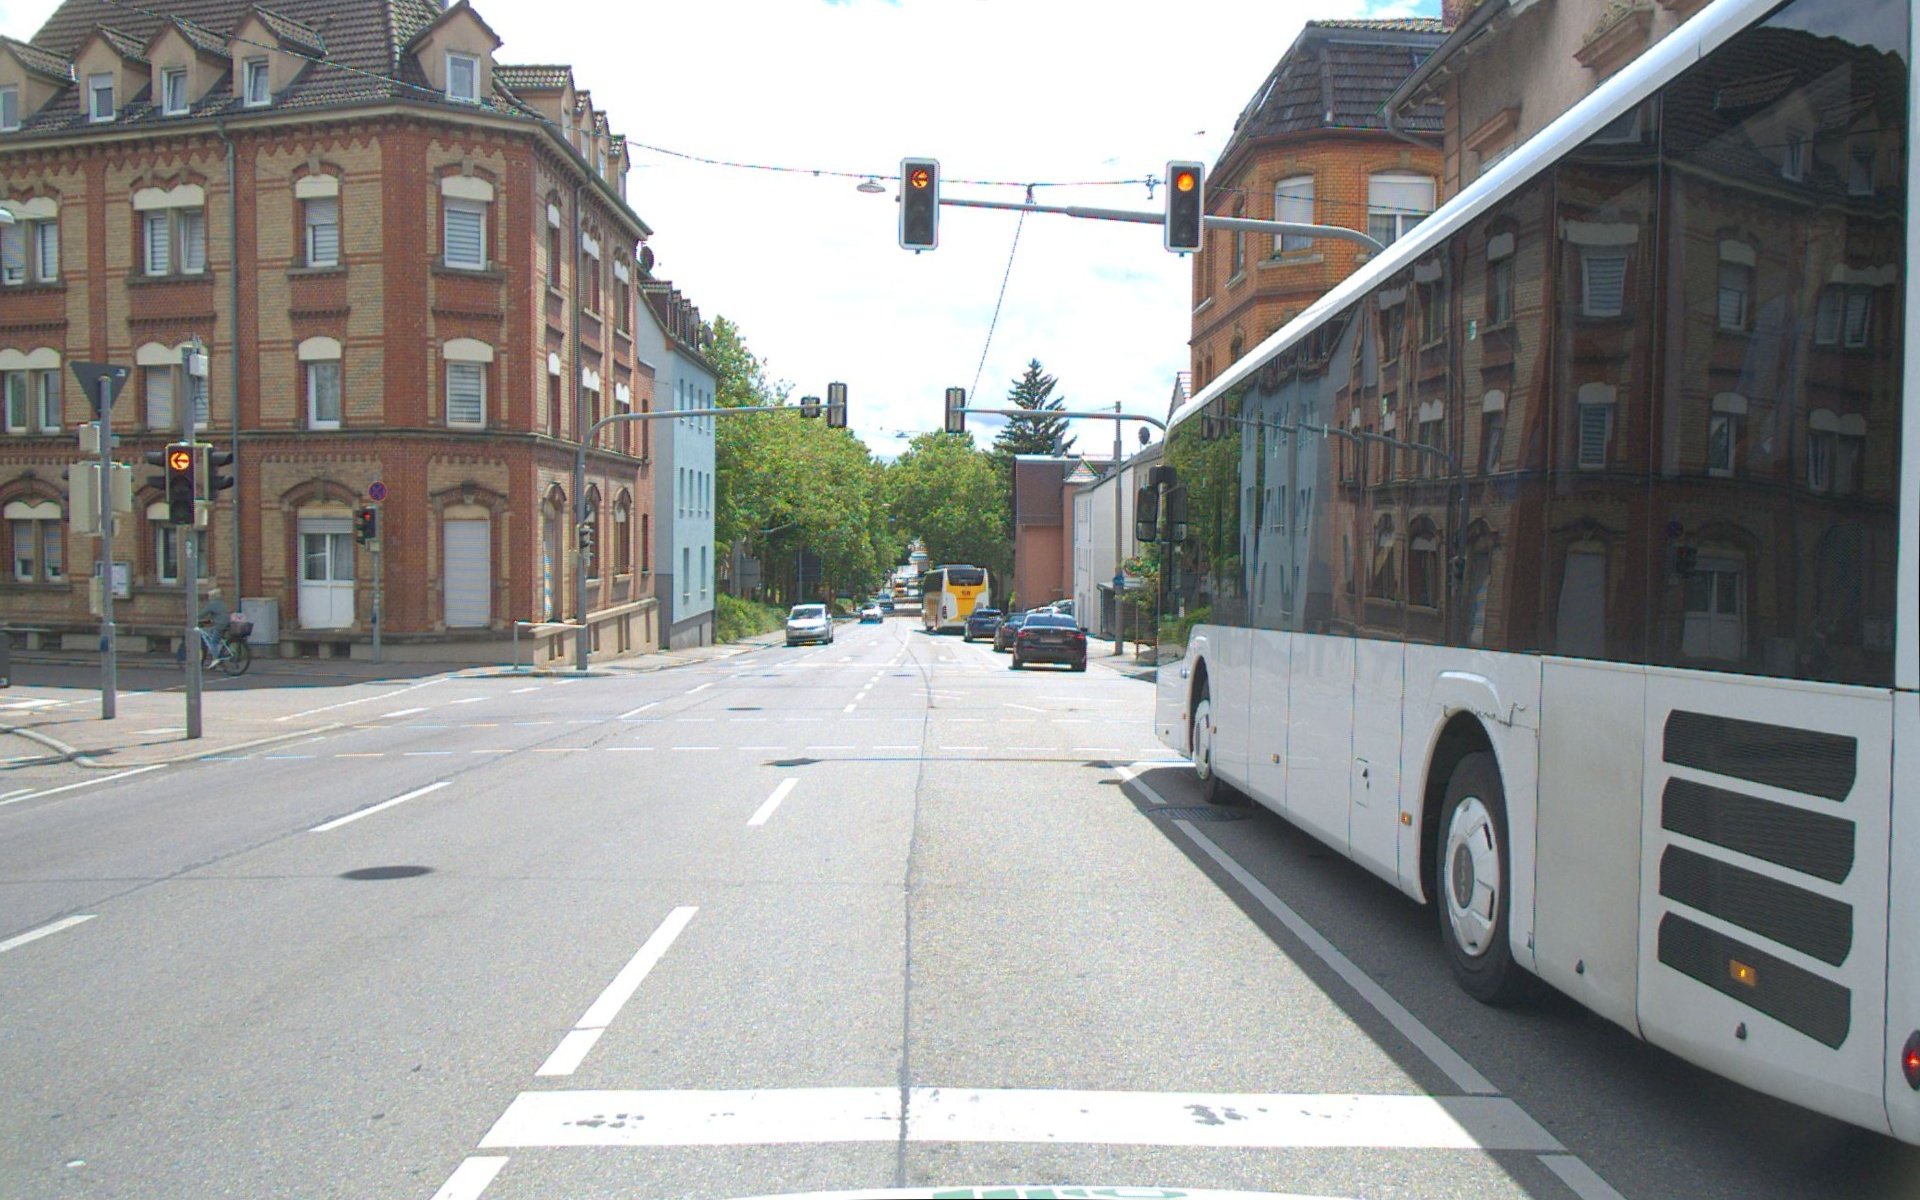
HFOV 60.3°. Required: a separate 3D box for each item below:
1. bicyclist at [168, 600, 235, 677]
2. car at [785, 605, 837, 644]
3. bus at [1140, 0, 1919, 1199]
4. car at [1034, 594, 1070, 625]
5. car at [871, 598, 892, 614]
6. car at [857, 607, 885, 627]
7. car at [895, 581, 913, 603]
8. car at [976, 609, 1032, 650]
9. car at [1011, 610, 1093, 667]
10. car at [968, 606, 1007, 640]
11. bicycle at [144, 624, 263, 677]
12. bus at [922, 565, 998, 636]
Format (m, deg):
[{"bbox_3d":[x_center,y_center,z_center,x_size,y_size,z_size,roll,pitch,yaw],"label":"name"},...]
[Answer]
[{"bbox_3d":[-15.123,0.764,32.981,1.048,1.526,0.590,0,0,7],"label":"bicyclist"},{"bbox_3d":[-6.372,1.019,71.013,1.896,1.591,4.388,0,0,-1],"label":"car"},{"bbox_3d":[3.235,-0.216,9.363,2.845,3.571,12.484,1,0,-1],"label":"bus"},{"bbox_3d":[5.191,0.544,93.371,1.731,1.695,3.999,0,0,-1],"label":"car"},{"bbox_3d":[-8.520,0.644,180.074,2.162,1.641,4.546,0,0,-1],"label":"car"},{"bbox_3d":[-6.434,1.202,120.303,1.827,1.391,4.546,0,0,-1],"label":"car"},{"bbox_3d":[-8.524,-1.189,250.127,2.096,3.124,5.629,1,0,4],"label":"car"},{"bbox_3d":[1.540,1.045,59.637,1.827,1.391,4.546,0,0,-1],"label":"car"},{"bbox_3d":[2.253,0.937,41.257,1.761,1.298,3.999,-1,0,-1],"label":"car"},{"bbox_3d":[1.176,0.982,71.516,1.576,1.400,3.999,0,0,-1],"label":"car"},{"bbox_3d":[-15.079,1.006,32.979,2.138,1.037,0.606,0,0,7],"label":"bicycle"},{"bbox_3d":[-0.136,0.024,92.158,3.236,3.694,11.232,-1,0,-5],"label":"bus"}]
